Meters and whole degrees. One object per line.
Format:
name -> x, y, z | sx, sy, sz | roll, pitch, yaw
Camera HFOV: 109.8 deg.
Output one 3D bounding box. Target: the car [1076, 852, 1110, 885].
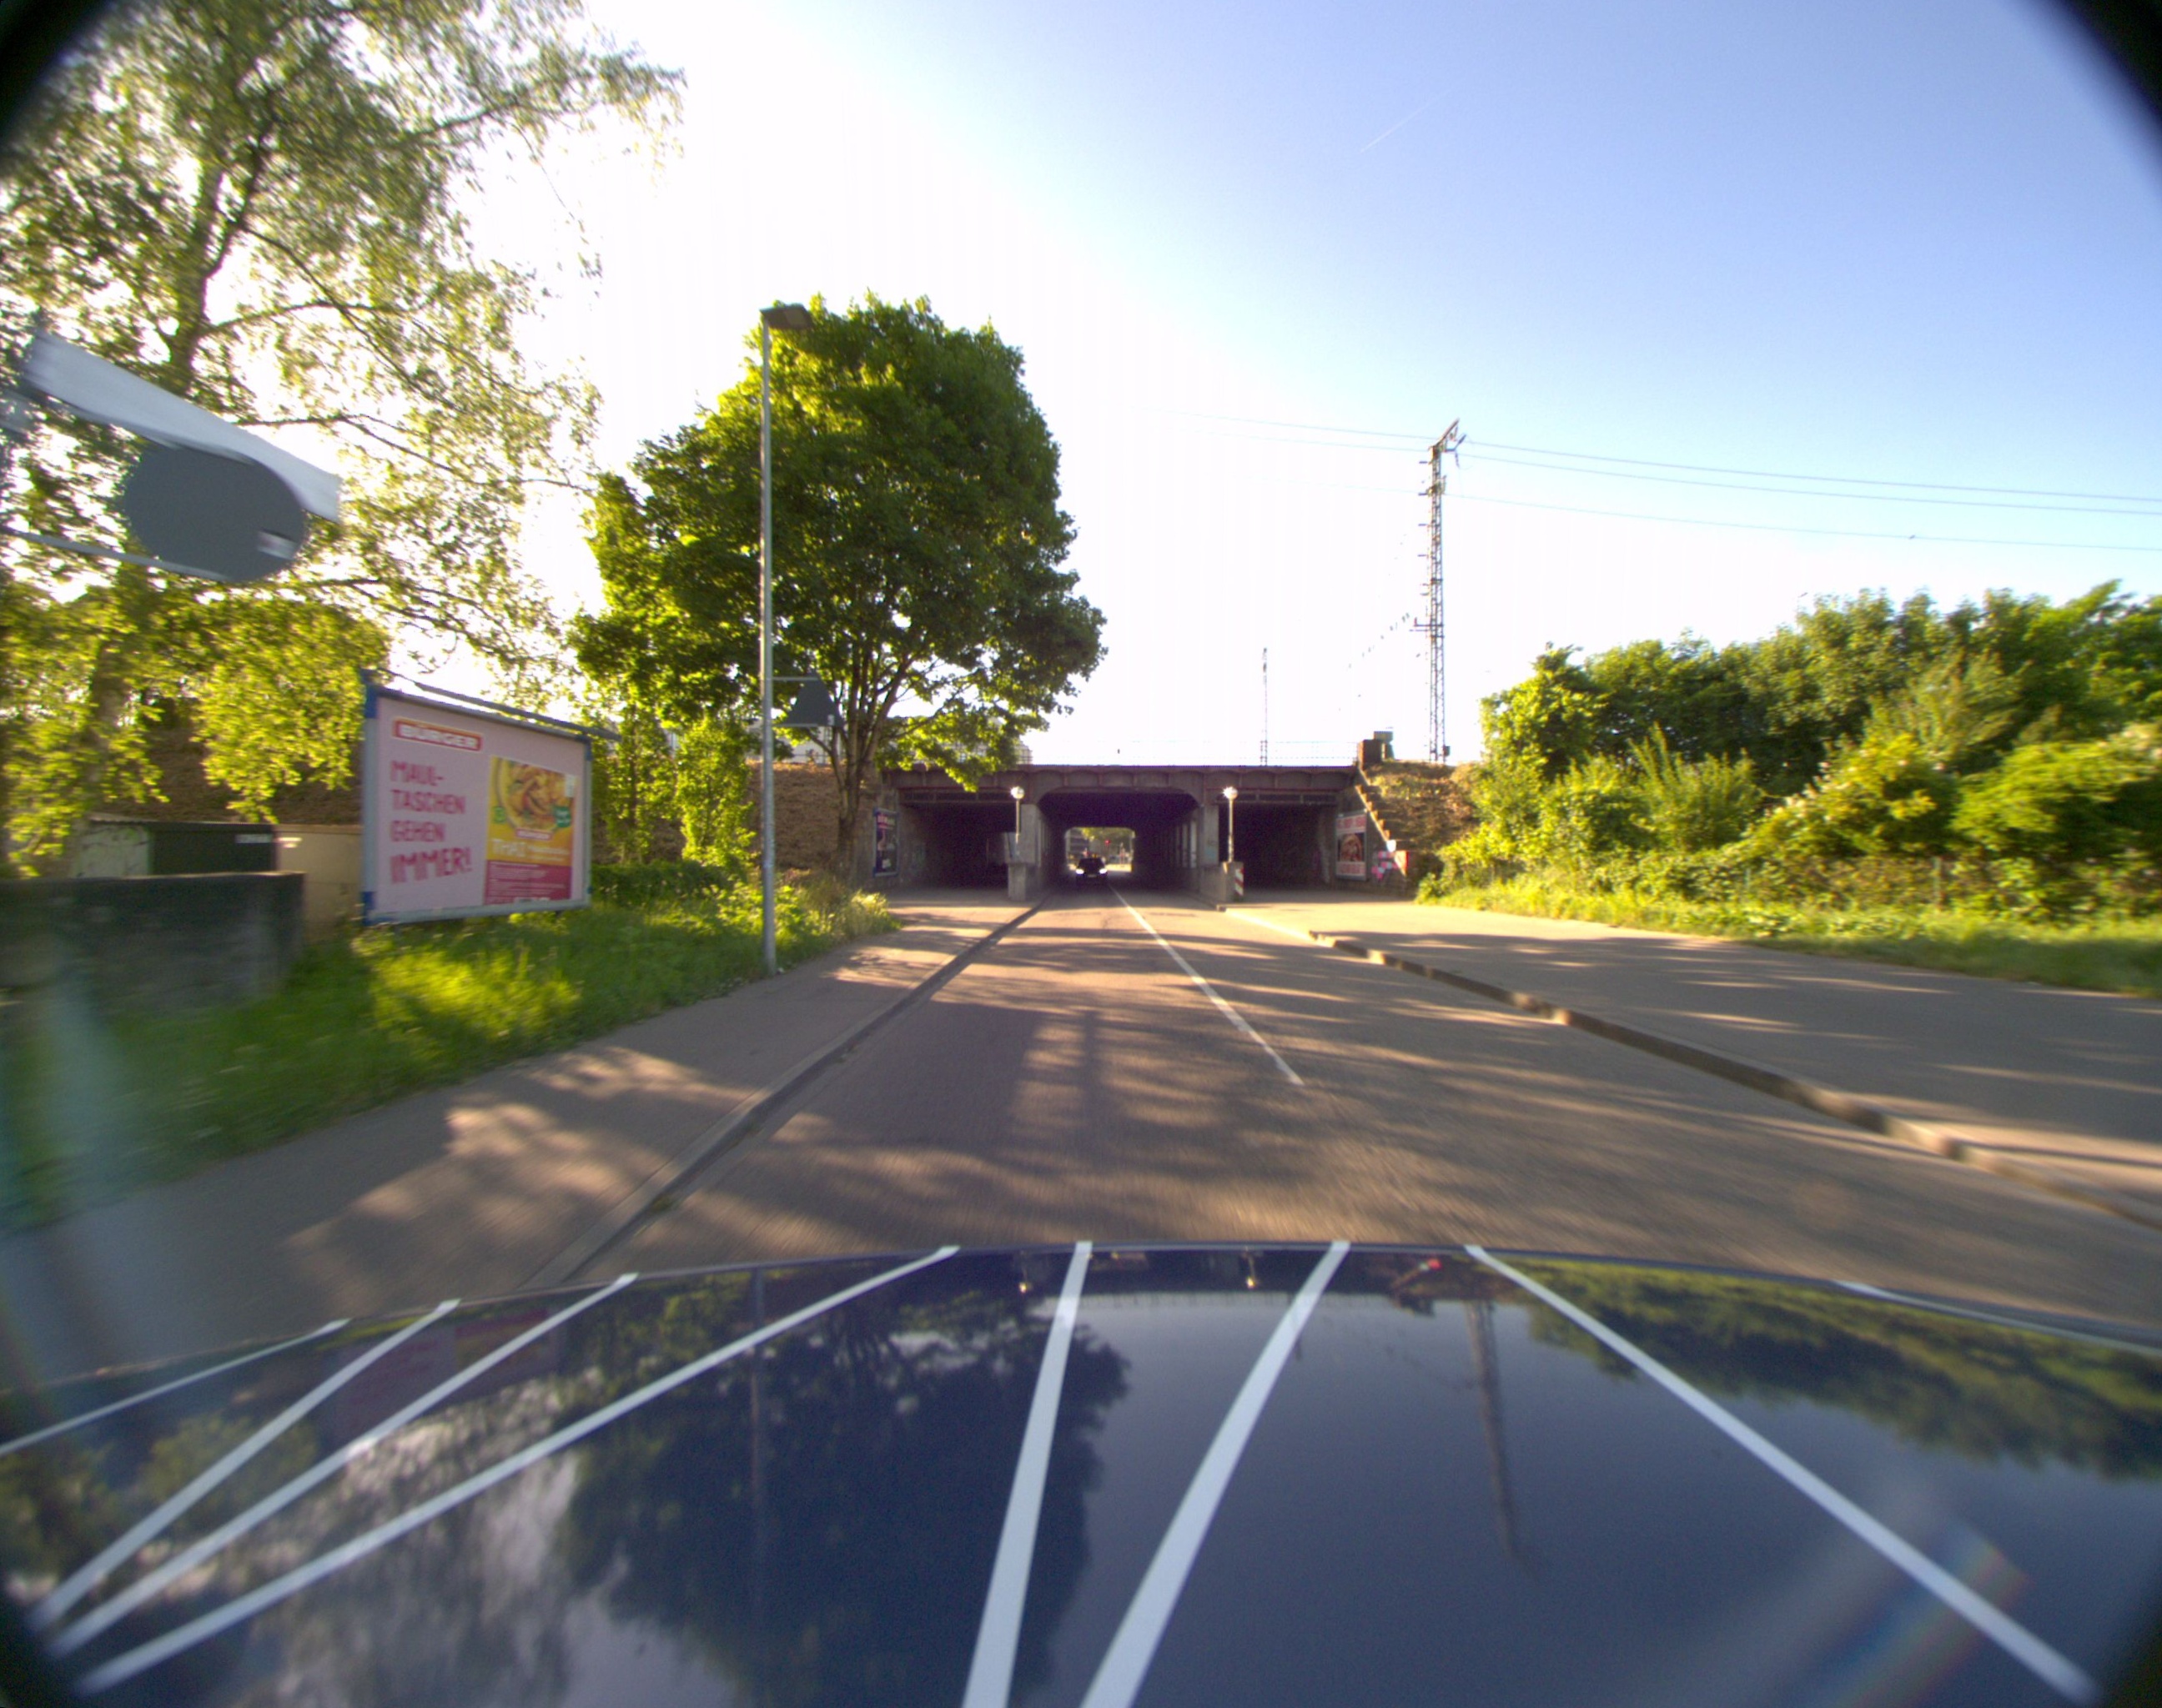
car -> 0.786, 0.846, 47.607 | 1.940, 1.922, 4.524 | 1, 0, 2
